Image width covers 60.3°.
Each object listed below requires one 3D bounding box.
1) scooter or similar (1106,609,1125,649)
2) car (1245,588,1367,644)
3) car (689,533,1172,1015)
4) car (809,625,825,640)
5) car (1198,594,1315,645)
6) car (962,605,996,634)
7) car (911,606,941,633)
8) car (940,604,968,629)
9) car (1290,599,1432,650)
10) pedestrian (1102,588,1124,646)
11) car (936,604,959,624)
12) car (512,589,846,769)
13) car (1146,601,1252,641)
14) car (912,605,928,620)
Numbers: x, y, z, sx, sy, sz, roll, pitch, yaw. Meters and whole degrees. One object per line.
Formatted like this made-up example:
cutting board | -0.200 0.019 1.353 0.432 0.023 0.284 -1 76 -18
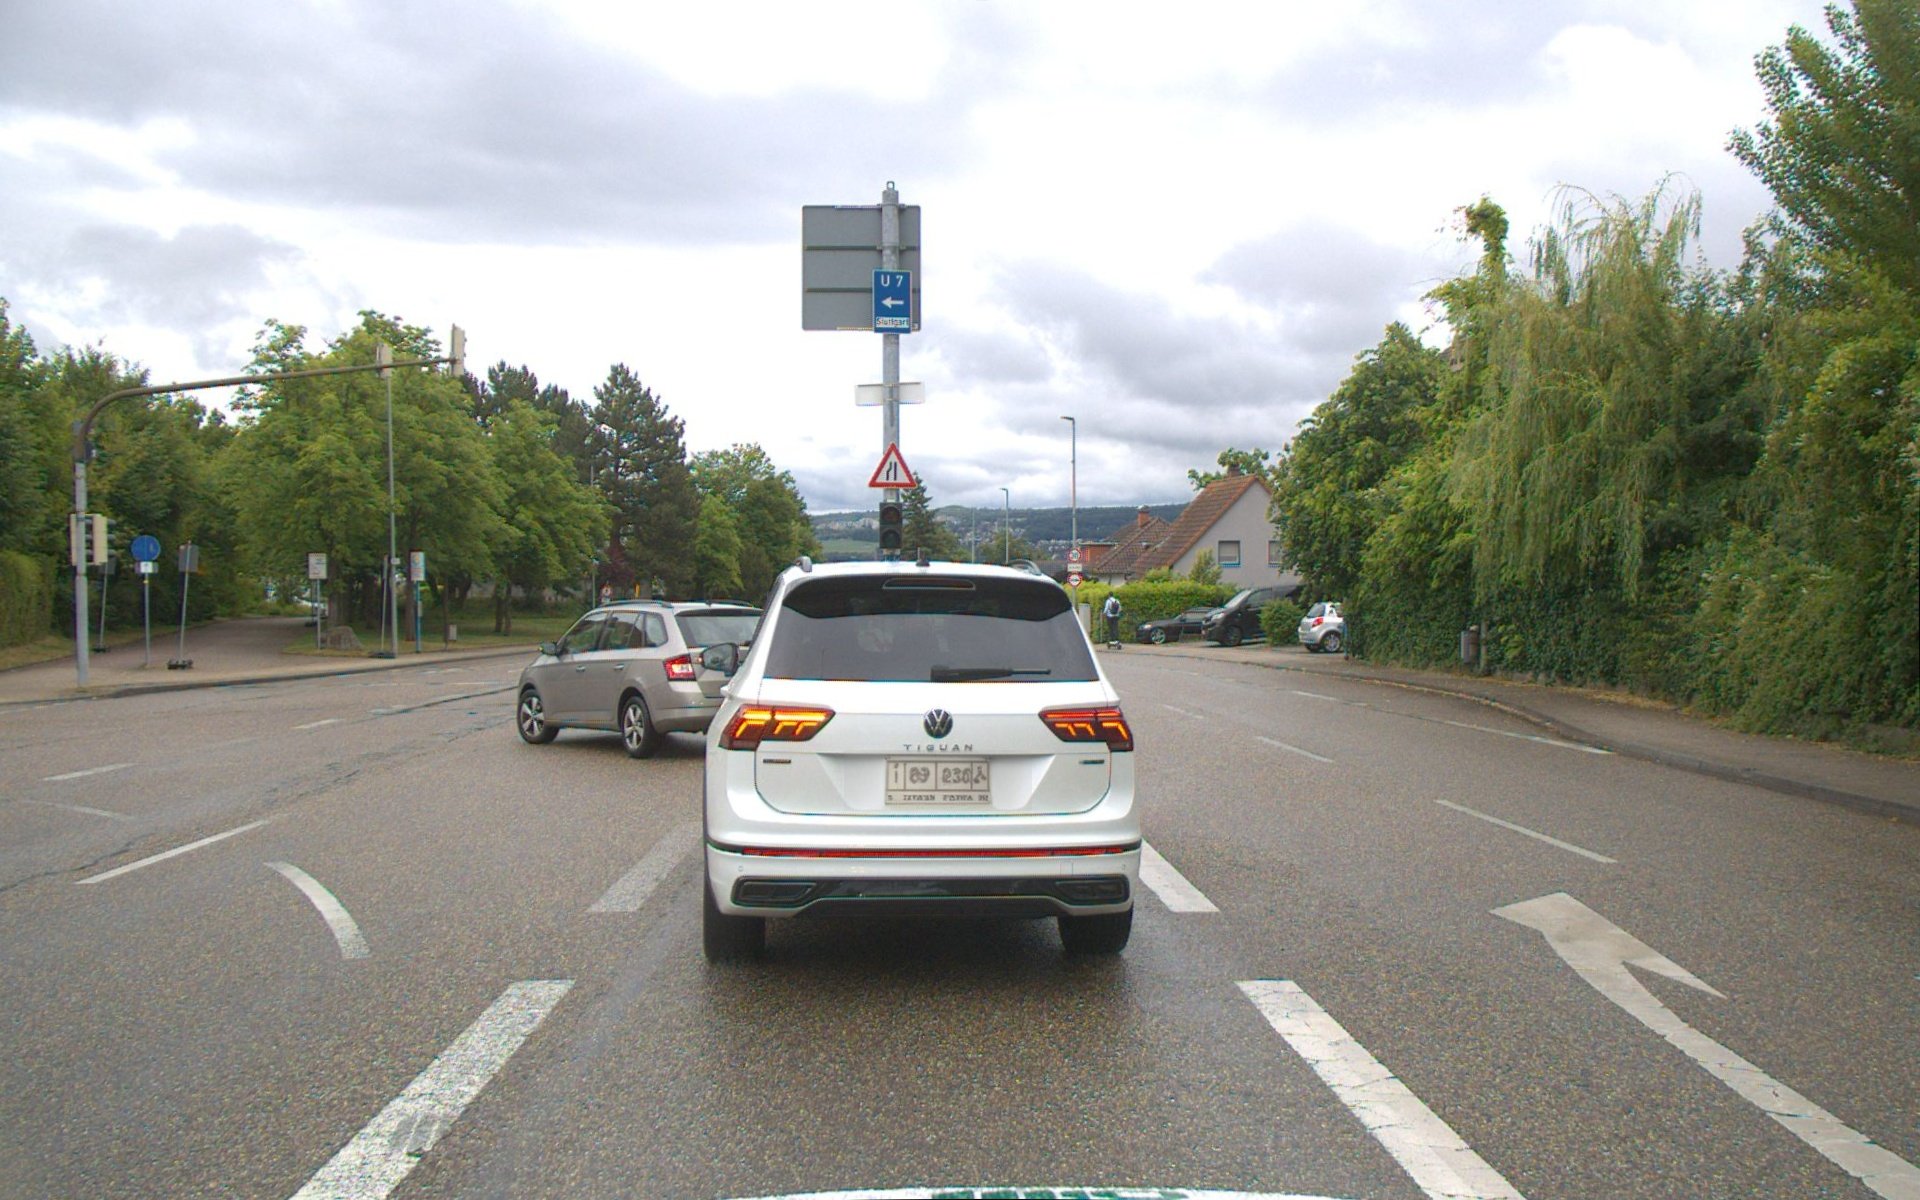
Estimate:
scooter or similar | 5.515 1.007 58.644 0.452 1.385 1.383 0 0 -4
car | 11.179 0.499 53.583 3.556 1.777 1.706 0 0 -5
car | -0.171 0.621 8.087 1.727 1.725 4.271 0 0 -2
car | -17.297 3.957 199.956 1.808 1.747 3.997 0 0 -4
car | 9.993 0.652 55.956 3.557 1.654 1.789 0 0 -5
car | 1.049 1.113 92.987 1.813 1.602 3.999 1 -1 -1
car | -1.907 1.093 93.339 1.631 1.452 4.303 2 -1 -1
car | -0.402 1.089 111.386 1.813 1.602 3.999 0 0 -1
car | 11.635 0.723 48.138 3.644 1.420 1.725 -1 -1 -9
pedestrian | 5.419 0.593 58.656 0.642 2.037 0.717 0 0 -5
car | -1.039 1.124 136.380 1.813 1.602 3.999 -1 0 -1
car | -2.990 0.711 17.001 1.786 1.617 3.872 0 0 -38
car | 8.762 0.771 60.746 3.614 1.394 1.518 1 -2 -3
car | -4.614 1.438 193.373 1.813 1.602 3.999 -1 0 -1
